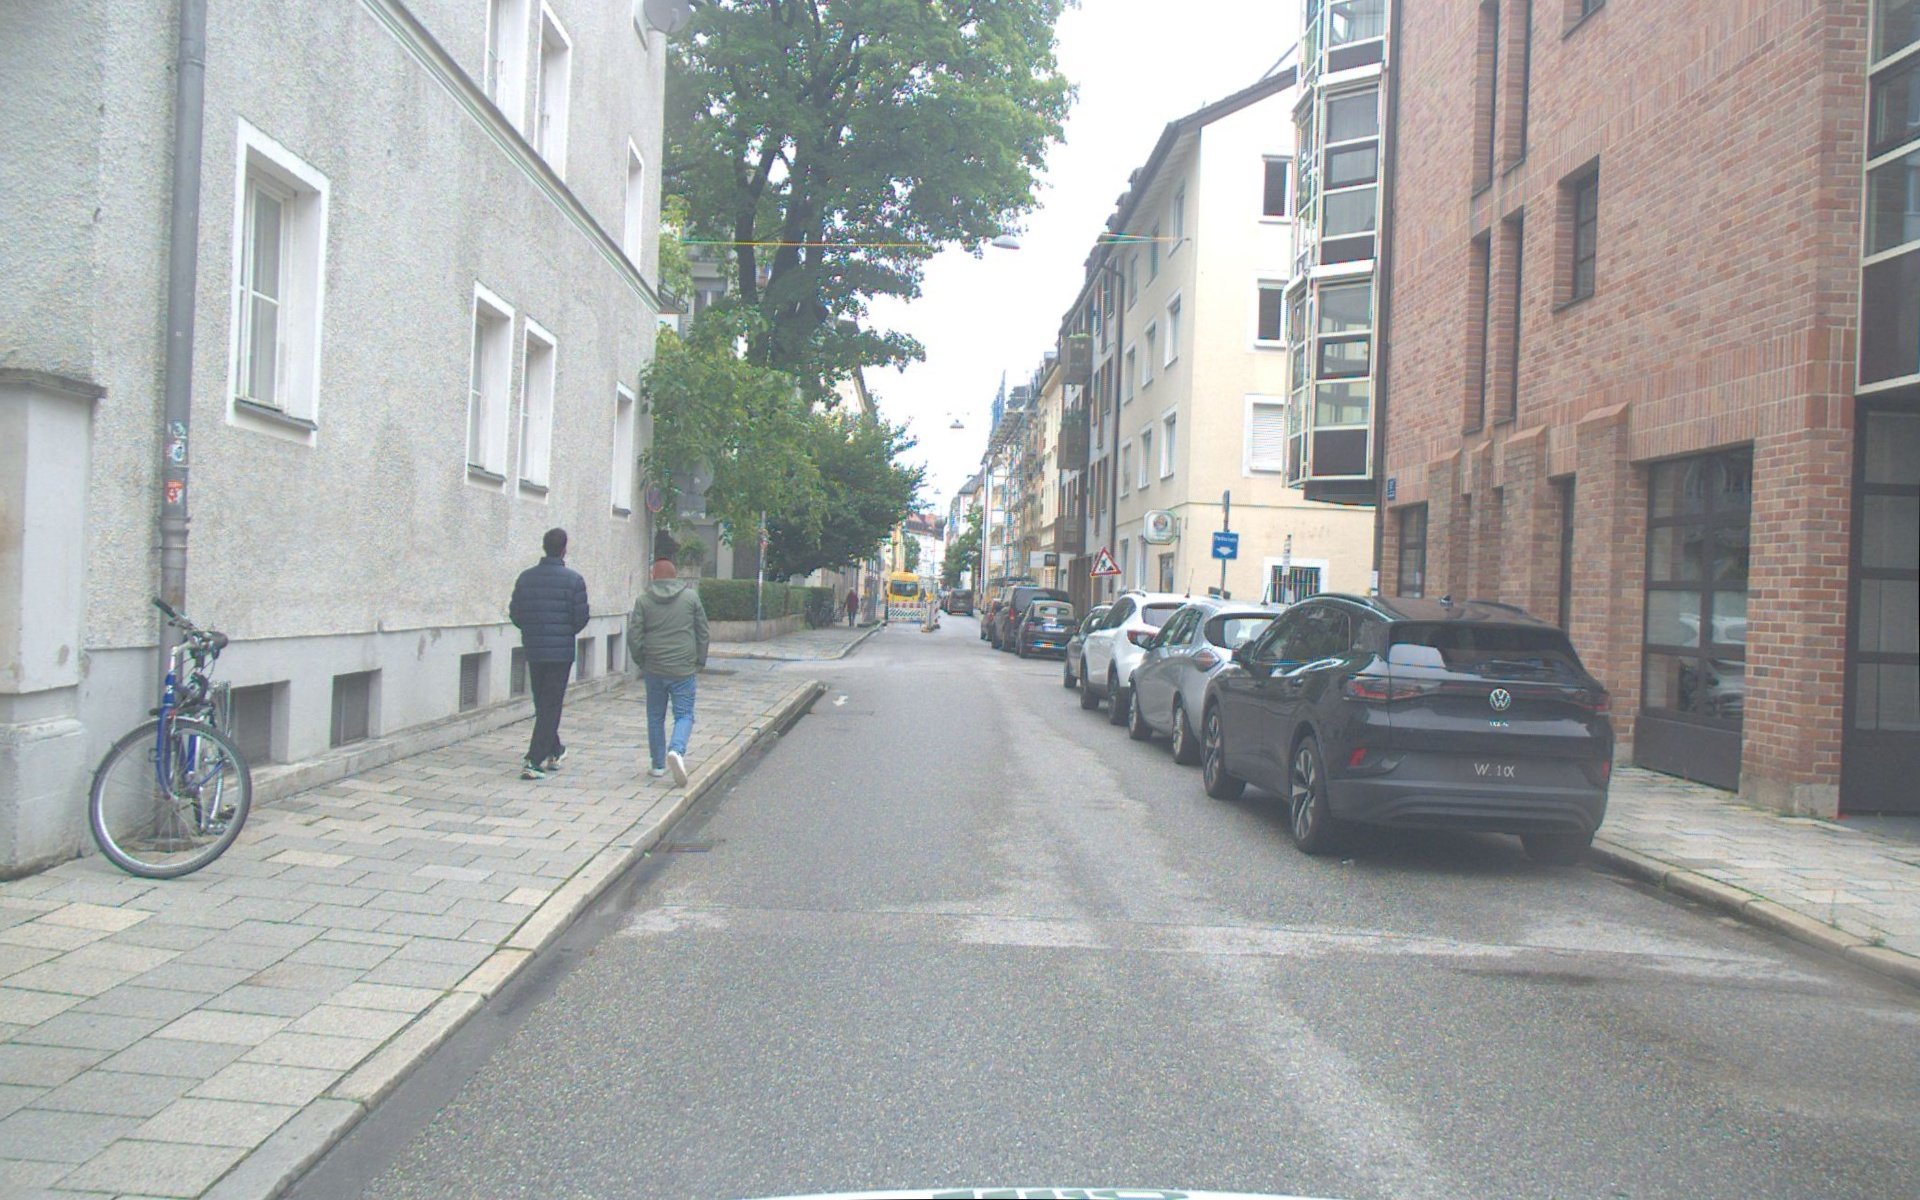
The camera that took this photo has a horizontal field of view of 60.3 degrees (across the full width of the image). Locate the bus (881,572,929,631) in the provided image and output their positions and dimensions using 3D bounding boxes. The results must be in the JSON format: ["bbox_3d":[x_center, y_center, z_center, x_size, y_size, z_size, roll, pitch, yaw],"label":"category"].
[{"bbox_3d":[-3.082,0.104,93.745,2.540,3.156,6.304,1,0,-1],"label":"bus"}]

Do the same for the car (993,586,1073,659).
[{"bbox_3d":[2.074,0.611,48.171,1.766,1.851,3.997,6,0,-4],"label":"car"}]

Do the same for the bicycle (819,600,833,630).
[{"bbox_3d":[-4.986,0.561,61.743,0.437,1.092,2.466,1,0,-3],"label":"bicycle"}]

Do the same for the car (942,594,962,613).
[{"bbox_3d":[-0.754,0.287,154.190,1.765,1.642,3.999,3,0,-1],"label":"car"}]

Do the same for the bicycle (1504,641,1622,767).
[{"bbox_3d":[5.807,0.977,15.990,0.548,1.098,1.471,2,0,-1],"label":"bicycle"}]

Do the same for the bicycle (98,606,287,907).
[{"bbox_3d":[-3.538,0.656,7.733,0.632,1.239,1.655,1,-1,-20],"label":"bicycle"}]

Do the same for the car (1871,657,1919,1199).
[{"bbox_3d":[3.308,0.913,1.905,1.800,1.442,4.599,3,0,-2],"label":"car"}]

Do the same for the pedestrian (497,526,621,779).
[{"bbox_3d":[-2.909,0.372,12.068,0.600,1.743,0.823,4,-1,-2],"label":"pedestrian"}]

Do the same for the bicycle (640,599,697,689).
[{"bbox_3d":[-3.951,0.576,22.350,0.465,1.130,1.751,3,0,-18],"label":"bicycle"}]

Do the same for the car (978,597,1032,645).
[{"bbox_3d":[1.617,0.738,60.042,1.603,1.540,3.827,6,0,-2],"label":"car"}]

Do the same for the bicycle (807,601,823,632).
[{"bbox_3d":[-4.927,0.555,56.206,0.406,1.038,1.853,1,0,-2],"label":"bicycle"}]

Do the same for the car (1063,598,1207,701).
[{"bbox_3d":[2.777,0.755,26.995,1.710,1.470,3.998,3,0,-3],"label":"car"}]

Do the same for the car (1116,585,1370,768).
[{"bbox_3d":[2.817,0.719,17.278,1.687,1.664,3.877,1,0,-5],"label":"car"}]

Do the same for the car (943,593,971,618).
[{"bbox_3d":[-0.257,0.395,125.924,1.766,1.741,3.824,6,0,-3],"label":"car"}]

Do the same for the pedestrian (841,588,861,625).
[{"bbox_3d":[-4.513,0.284,68.602,0.741,1.517,0.831,1,-1,-1],"label":"pedestrian"}]

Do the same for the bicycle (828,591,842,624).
[{"bbox_3d":[-5.648,0.350,74.531,0.504,1.442,1.933,1,0,-2],"label":"bicycle"}]

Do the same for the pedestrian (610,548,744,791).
[{"bbox_3d":[-2.085,0.499,12.289,0.738,1.688,0.906,4,-1,-1],"label":"pedestrian"}]

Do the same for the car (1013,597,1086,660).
[{"bbox_3d":[2.341,0.723,43.817,1.592,1.513,3.807,3,0,-1],"label":"car"}]

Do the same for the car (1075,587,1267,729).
[{"bbox_3d":[2.678,0.686,21.914,1.714,1.658,4.193,2,0,-4],"label":"car"}]

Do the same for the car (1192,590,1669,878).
[{"bbox_3d":[3.024,0.766,11.707,1.848,1.582,4.388,3,0,-3],"label":"car"}]
